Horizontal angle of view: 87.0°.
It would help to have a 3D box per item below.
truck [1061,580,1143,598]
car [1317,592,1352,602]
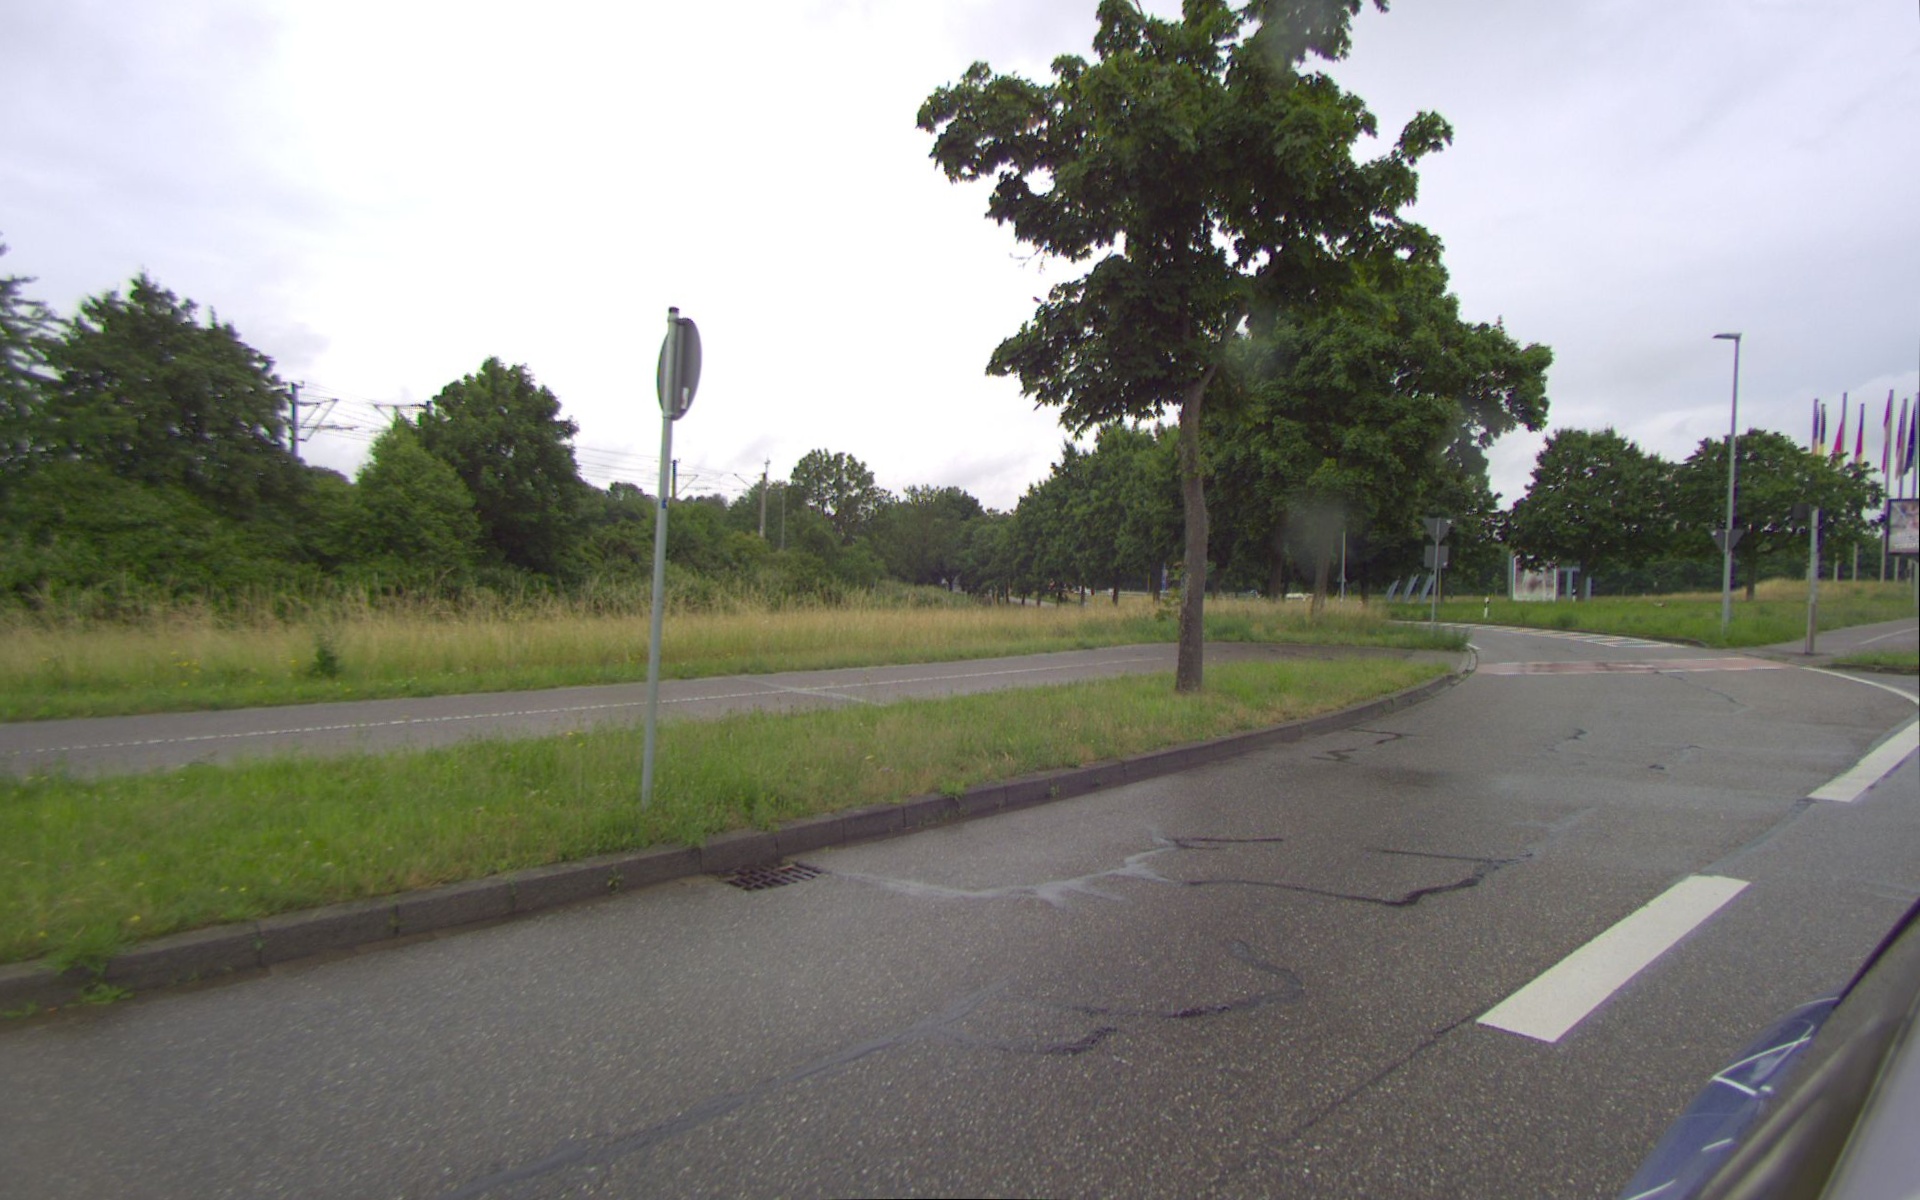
[{"bbox_3d":[25.245,-1.998,180.457,14.519,2.765,3.466,2,2,33],"label":"truck"},{"bbox_3d":[63.917,-0.556,172.802,5.248,1.627,2.216,1,1,32],"label":"car"}]
